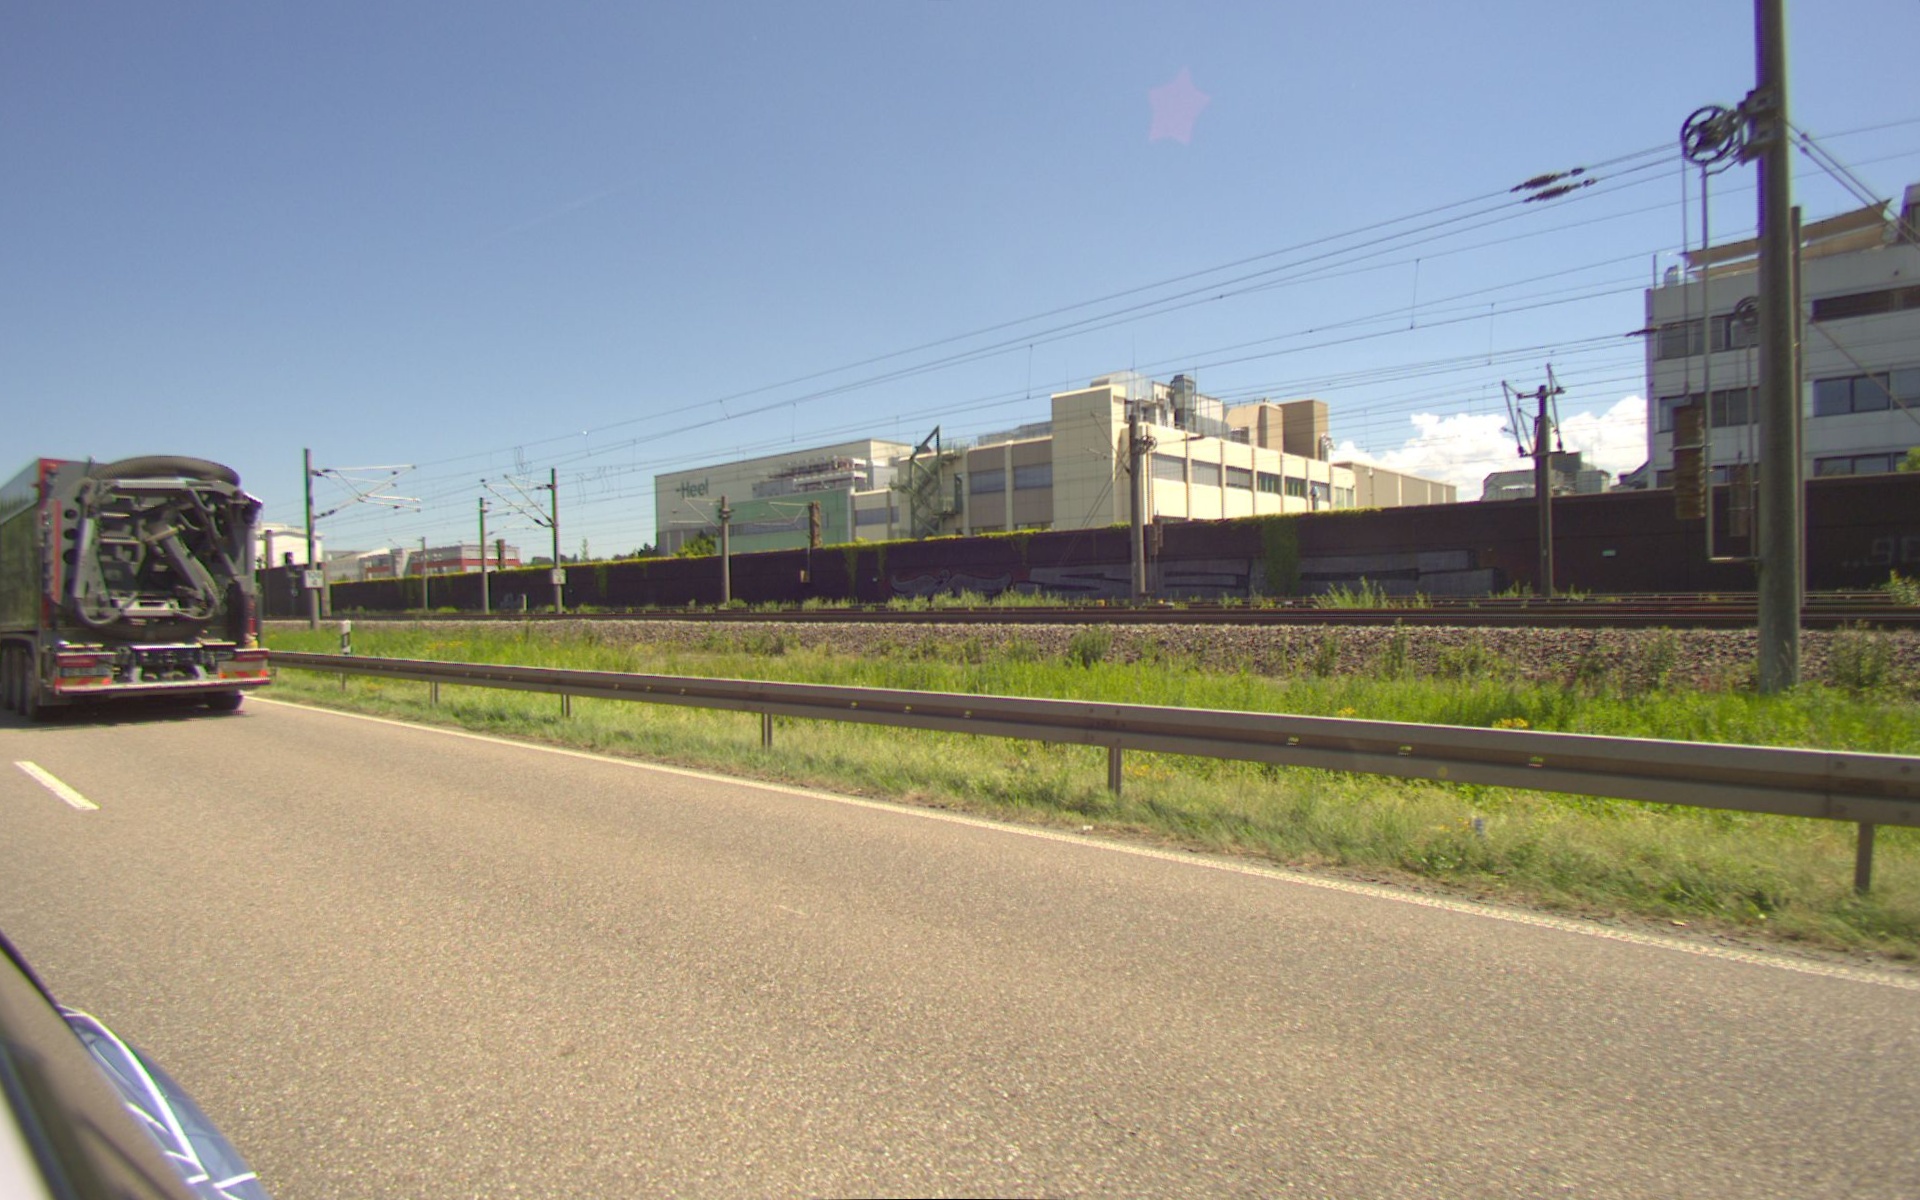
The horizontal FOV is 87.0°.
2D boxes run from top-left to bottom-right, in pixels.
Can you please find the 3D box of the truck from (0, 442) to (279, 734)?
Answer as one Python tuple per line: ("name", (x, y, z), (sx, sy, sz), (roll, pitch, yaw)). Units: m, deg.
("truck", (-14.913, -0.037, 17.243), (10.969, 3.654, 2.631), (-2, -1, 40))
